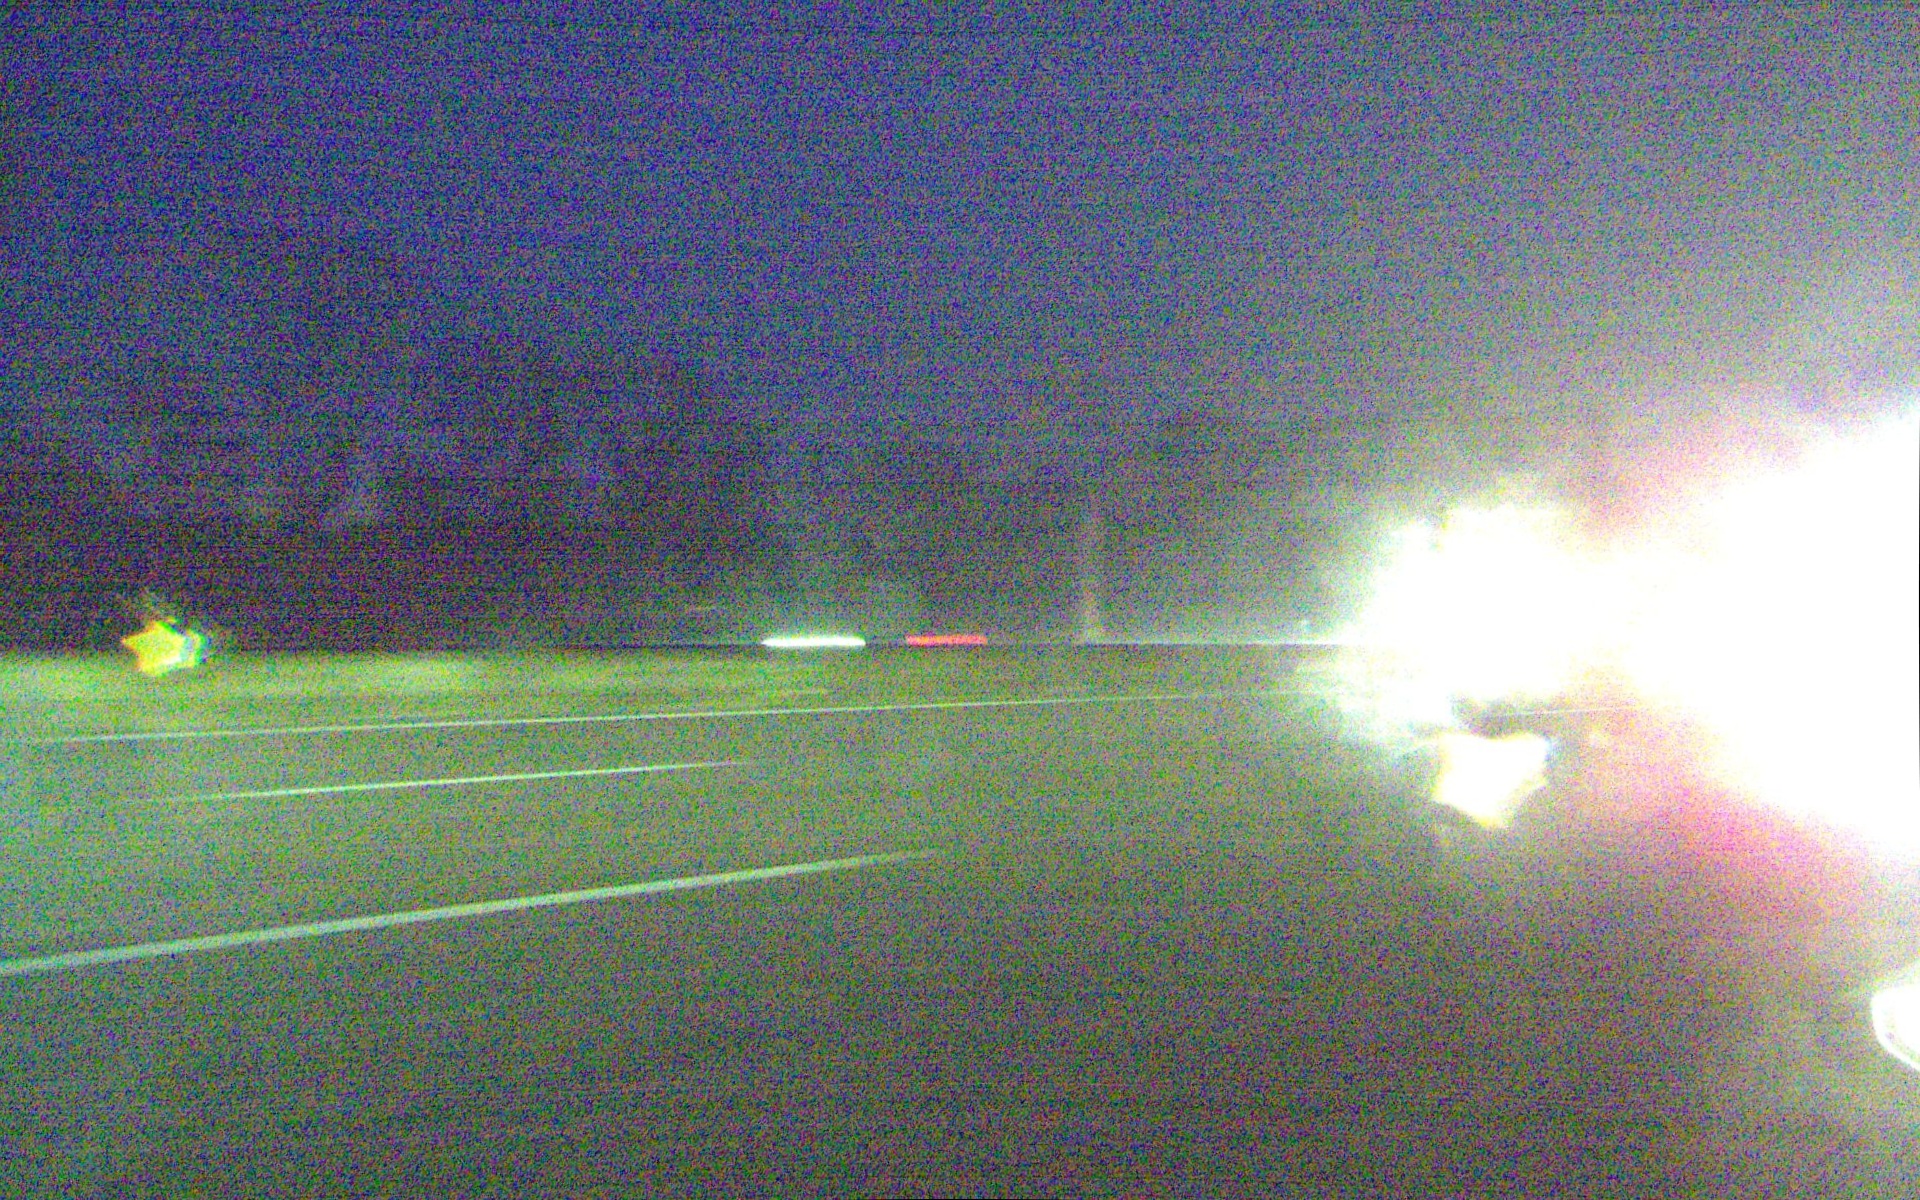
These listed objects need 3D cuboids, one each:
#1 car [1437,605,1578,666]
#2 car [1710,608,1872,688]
[{"bbox_3d":[18.318,1.181,33.547,5.004,1.868,1.870,2,0,-32],"label":"car"},{"bbox_3d":[19.126,1.071,23.075,3.963,1.617,1.979,2,0,-37],"label":"car"}]
